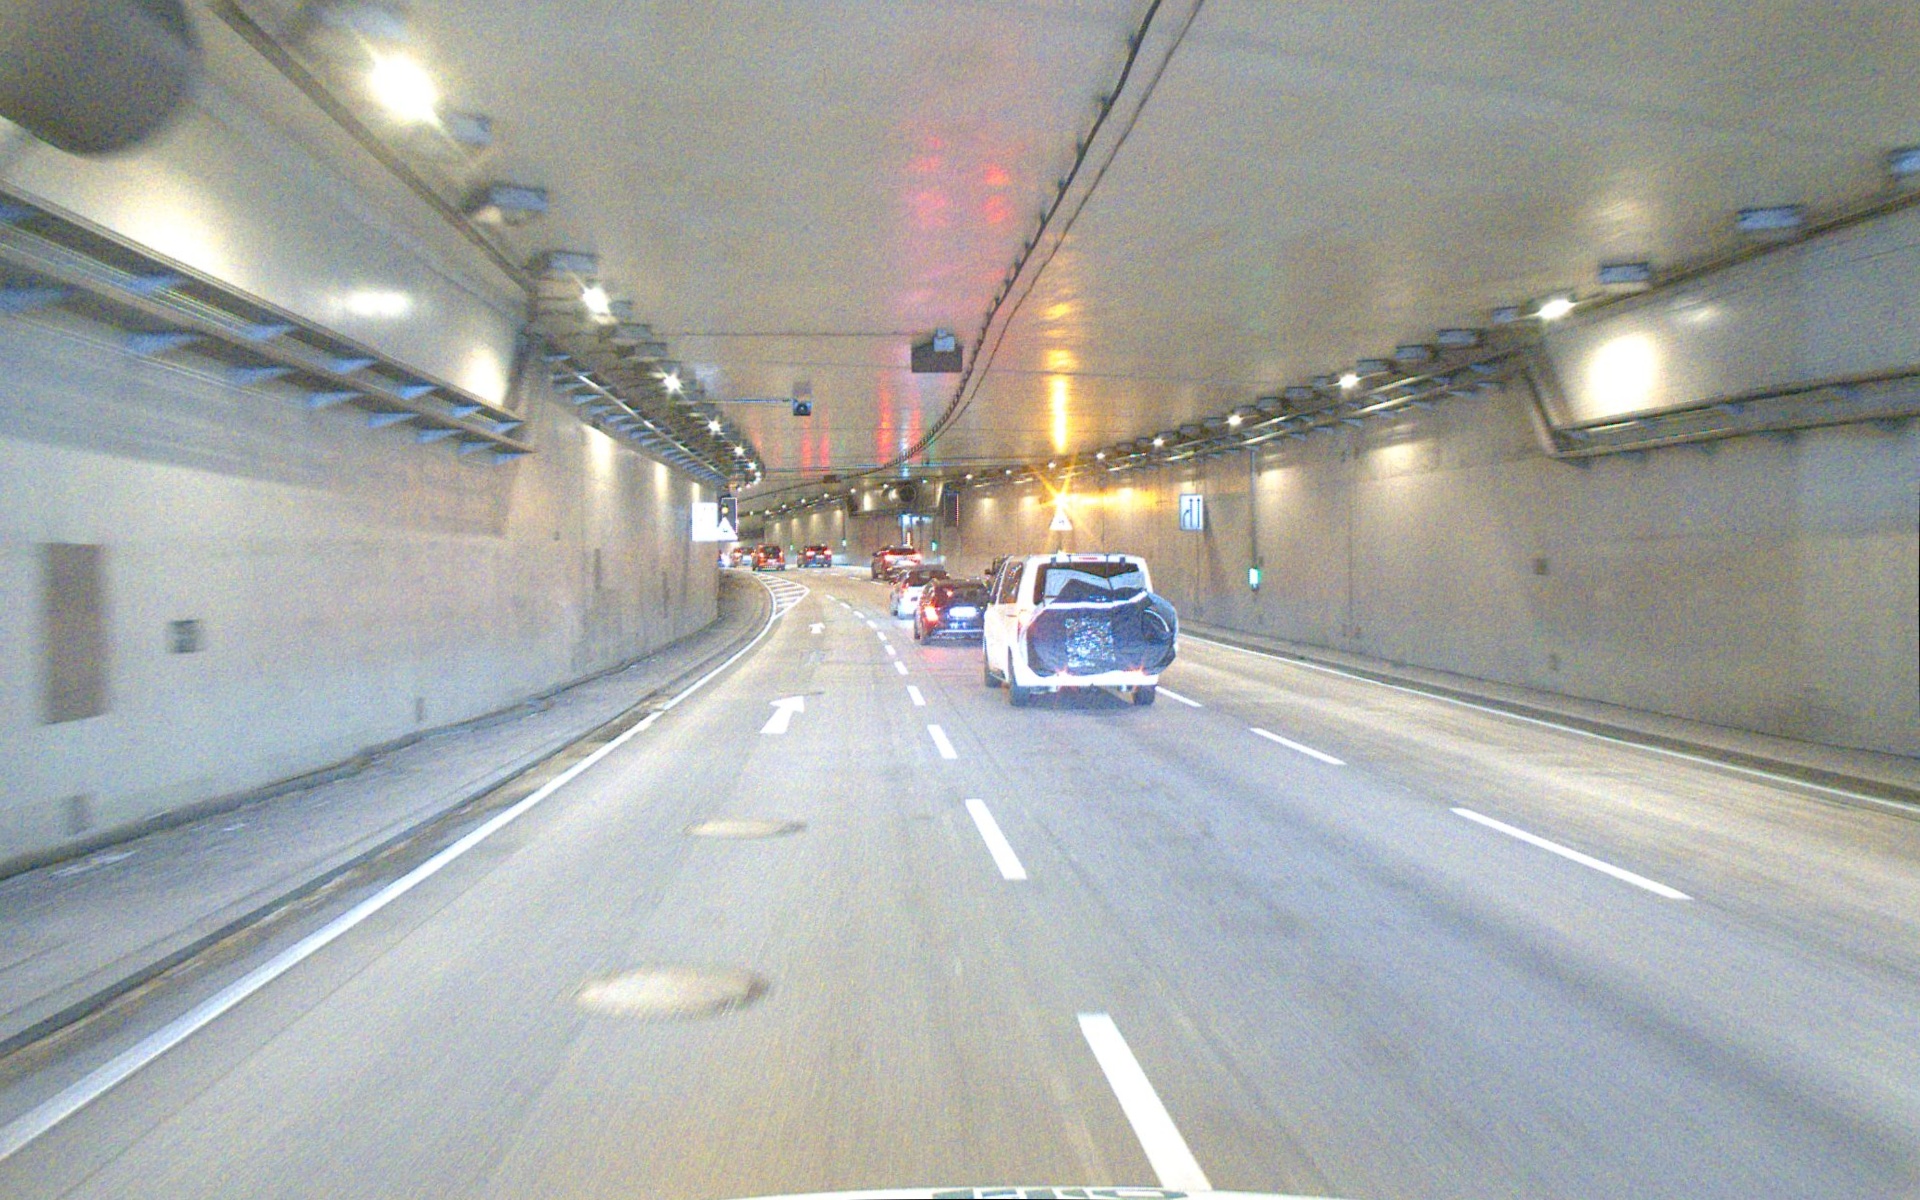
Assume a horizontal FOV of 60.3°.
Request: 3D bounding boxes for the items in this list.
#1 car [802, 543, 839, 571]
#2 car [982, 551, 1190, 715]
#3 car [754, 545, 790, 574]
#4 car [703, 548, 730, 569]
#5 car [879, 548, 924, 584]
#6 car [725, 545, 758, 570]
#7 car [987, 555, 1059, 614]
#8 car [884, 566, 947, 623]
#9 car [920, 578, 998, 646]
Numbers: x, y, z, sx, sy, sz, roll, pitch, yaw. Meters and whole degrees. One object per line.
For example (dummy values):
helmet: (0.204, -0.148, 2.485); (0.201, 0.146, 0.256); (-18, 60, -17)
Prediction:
car: (-8.825, -2.682, 104.500); (1.791, 1.659, 3.830); (0, 0, -14)
car: (1.488, 0.313, 21.648); (1.954, 1.879, 5.297); (0, 1, -4)
car: (-11.223, -2.402, 98.671); (1.790, 1.659, 3.832); (0, 0, -12)
car: (-20.038, -3.384, 136.204); (1.792, 1.659, 3.828); (0, 0, -15)
car: (-2.813, -1.617, 78.861); (1.574, 1.659, 3.346); (0, 0, -12)
car: (-15.288, -2.940, 115.564); (1.792, 1.659, 3.829); (0, 0, -14)
car: (1.960, -0.480, 52.677); (1.836, 1.792, 3.996); (0, 0, -4)
car: (-1.360, -0.190, 49.620); (1.572, 1.621, 3.351); (0, 2, -7)
car: (-0.053, 0.226, 36.588); (1.571, 1.419, 3.275); (0, 1, -3)
